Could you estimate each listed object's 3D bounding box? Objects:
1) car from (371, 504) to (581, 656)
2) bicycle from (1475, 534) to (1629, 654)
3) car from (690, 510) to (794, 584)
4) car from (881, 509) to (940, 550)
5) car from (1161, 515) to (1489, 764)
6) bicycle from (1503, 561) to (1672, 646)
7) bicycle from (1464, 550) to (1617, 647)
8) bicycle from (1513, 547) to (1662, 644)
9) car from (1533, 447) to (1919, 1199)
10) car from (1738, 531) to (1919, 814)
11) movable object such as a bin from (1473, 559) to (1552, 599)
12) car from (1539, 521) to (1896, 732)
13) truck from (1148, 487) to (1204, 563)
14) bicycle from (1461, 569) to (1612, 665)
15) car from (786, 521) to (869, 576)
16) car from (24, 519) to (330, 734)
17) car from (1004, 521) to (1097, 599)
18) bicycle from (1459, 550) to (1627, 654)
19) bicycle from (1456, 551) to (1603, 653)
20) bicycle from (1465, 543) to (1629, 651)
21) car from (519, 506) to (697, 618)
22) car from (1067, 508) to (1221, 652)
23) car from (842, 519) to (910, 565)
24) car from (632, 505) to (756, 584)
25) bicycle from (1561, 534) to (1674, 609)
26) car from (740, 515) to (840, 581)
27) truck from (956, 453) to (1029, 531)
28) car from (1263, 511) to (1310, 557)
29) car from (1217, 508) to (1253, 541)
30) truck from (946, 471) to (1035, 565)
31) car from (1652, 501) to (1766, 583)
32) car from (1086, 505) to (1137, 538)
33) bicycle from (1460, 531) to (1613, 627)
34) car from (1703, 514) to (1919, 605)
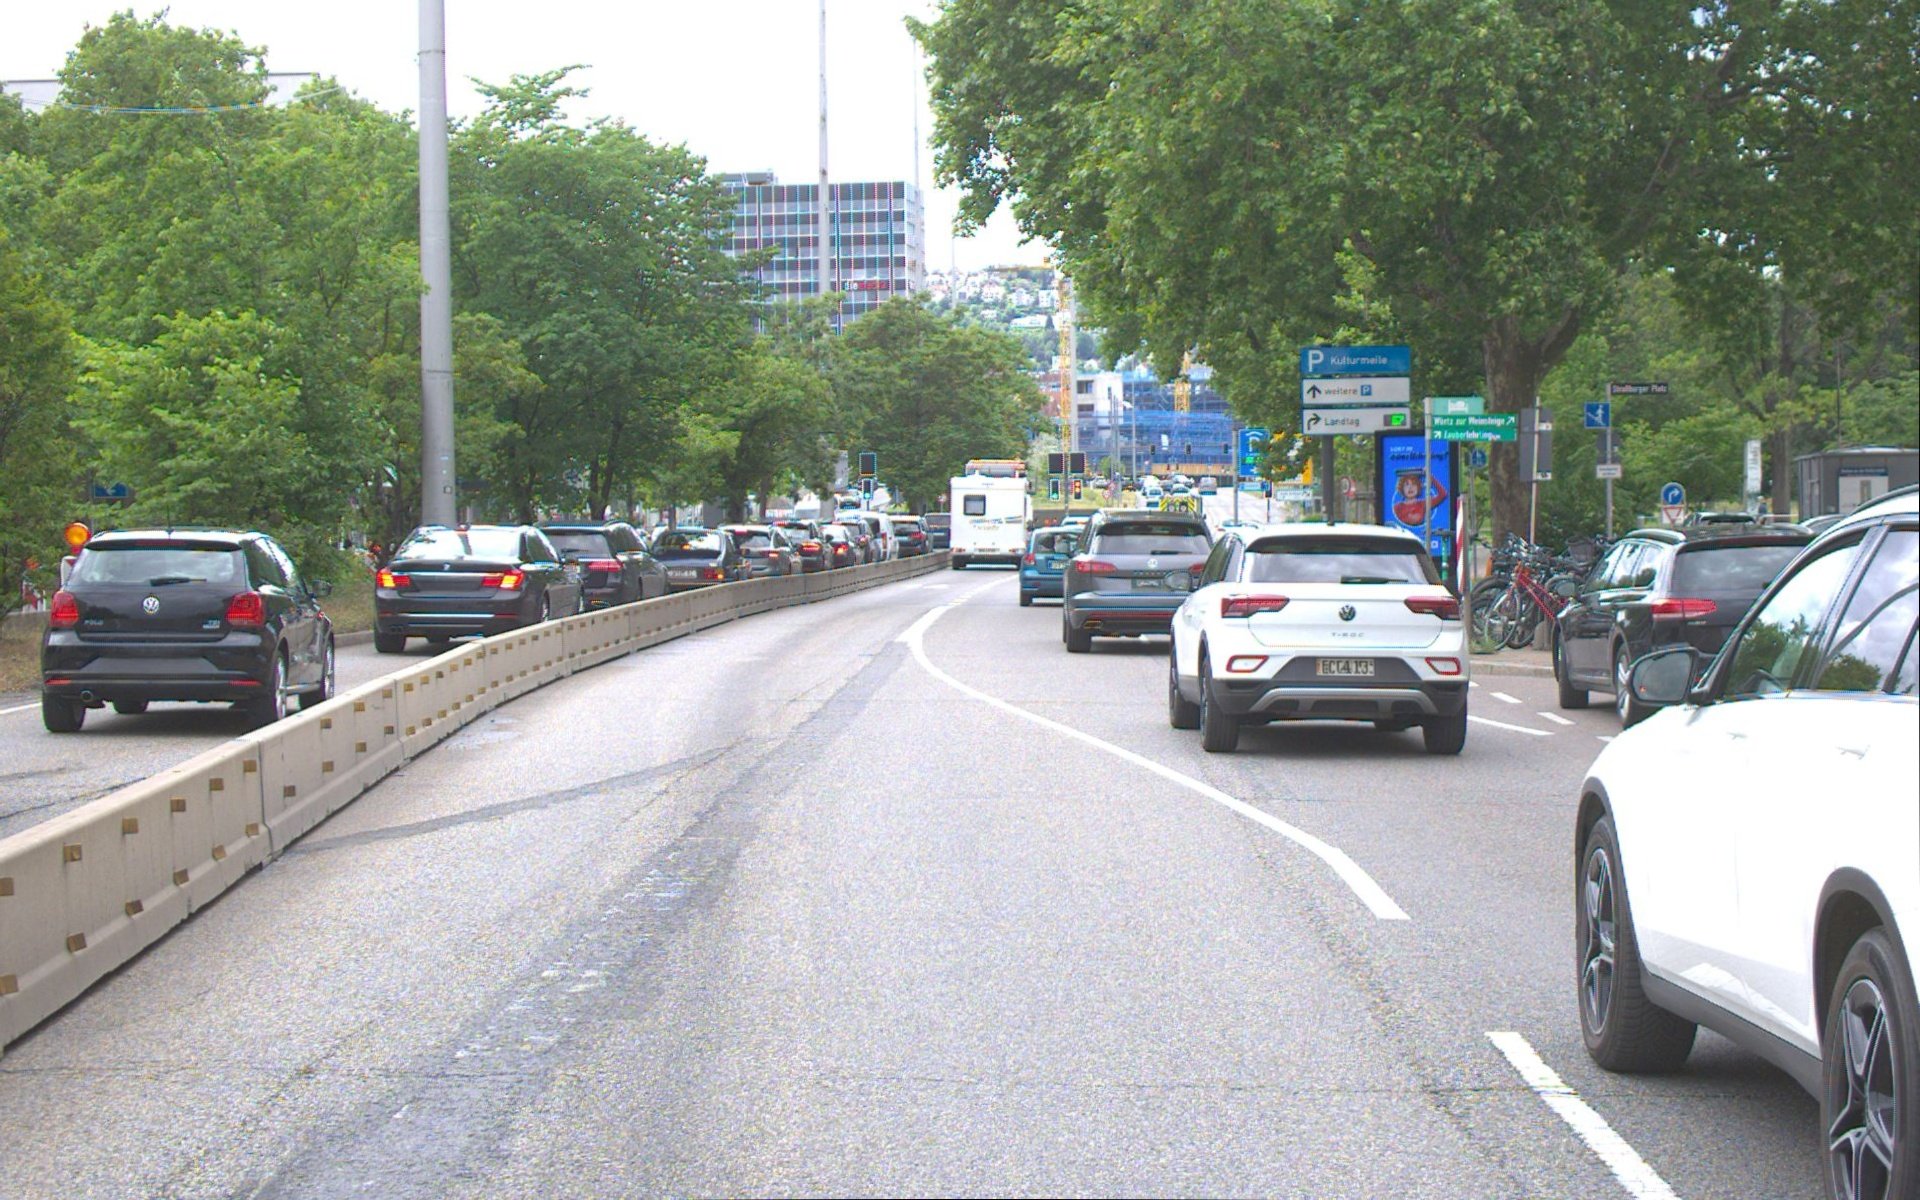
[{"bbox_3d":[-5.527,-0.262,39.775,1.923,1.630,4.937,0,1,-2],"label":"car"},{"bbox_3d":[6.385,-0.070,37.082,1.544,1.252,0.542,1,1,21],"label":"bicycle"},{"bbox_3d":[-4.368,-1.069,69.259,1.661,1.431,3.960,1,1,3],"label":"car"},{"bbox_3d":[-1.644,-2.340,114.495,1.659,1.315,3.547,1,1,4],"label":"car"},{"bbox_3d":[2.485,0.224,24.247,1.795,1.603,3.755,0,1,-2],"label":"car"},{"bbox_3d":[6.843,0.033,37.474,1.730,0.914,0.613,0,1,21],"label":"bicycle"},{"bbox_3d":[6.765,-0.023,40.052,1.729,1.087,0.574,1,1,11],"label":"bicycle"},{"bbox_3d":[6.869,-0.054,37.633,1.564,1.024,0.435,1,1,14],"label":"bicycle"},{"bbox_3d":[2.619,0.523,8.006,1.788,1.619,4.437,2,1,0],"label":"car"},{"bbox_3d":[5.704,0.325,19.538,1.708,1.421,3.997,-1,1,1],"label":"car"},{"bbox_3d":[9.553,-0.362,59.422,1.299,0.650,0.728,2,0,12],"label":"movable object such as a bin"},{"bbox_3d":[5.736,0.151,26.537,1.788,1.481,4.326,0,1,0],"label":"car"},{"bbox_3d":[11.950,-4.160,190.462,2.877,4.089,6.638,1,1,3],"label":"truck"},{"bbox_3d":[6.871,0.194,40.976,1.729,1.087,0.425,1,1,16],"label":"bicycle"},{"bbox_3d":[-3.251,-1.276,84.868,1.659,1.315,3.547,1,1,4],"label":"car"},{"bbox_3d":[-5.712,0.144,25.495,1.659,1.449,4.199,0,1,-5],"label":"car"},{"bbox_3d":[1.725,-0.750,64.571,1.659,1.408,3.547,1,1,3],"label":"car"},{"bbox_3d":[6.207,0.011,36.604,1.664,1.070,0.584,1,1,22],"label":"bicycle"},{"bbox_3d":[6.383,0.024,38.510,1.609,1.126,0.470,0,1,-23],"label":"bicycle"},{"bbox_3d":[6.751,-0.043,39.599,1.757,1.205,0.604,1,1,0],"label":"bicycle"},{"bbox_3d":[-4.922,-0.564,48.707,1.816,1.494,4.769,0,1,3],"label":"car"},{"bbox_3d":[2.161,-0.265,41.115,1.659,1.633,3.547,0,1,0],"label":"car"},{"bbox_3d":[-2.437,-1.688,100.424,1.659,1.315,3.547,1,1,4],"label":"car"},{"bbox_3d":[-4.781,-1.025,62.322,1.678,1.362,4.543,0,1,3],"label":"car"},{"bbox_3d":[10.808,-0.468,56.549,1.785,1.216,0.492,0,1,6],"label":"bicycle"},{"bbox_3d":[-3.781,-1.175,77.031,1.776,1.415,4.000,0,2,4],"label":"car"},{"bbox_3d":[1.331,-4.313,138.521,2.692,2.981,5.638,2,1,2],"label":"truck"},{"bbox_3d":[14.508,-2.946,152.944,1.994,2.007,4.000,1,1,4],"label":"car"},{"bbox_3d":[14.396,-3.961,179.921,1.758,1.663,4.168,0,1,3],"label":"car"},{"bbox_3d":[1.015,-2.618,109.465,2.621,2.851,7.078,1,1,2],"label":"truck"},{"bbox_3d":[15.693,-1.247,72.196,1.760,1.546,4.027,0,3,4],"label":"car"},{"bbox_3d":[6.180,-3.195,139.917,1.947,1.315,4.016,1,1,4],"label":"car"},{"bbox_3d":[6.782,-0.254,40.439,1.729,1.087,0.380,1,1,16],"label":"bicycle"},{"bbox_3d":[14.963,-0.713,59.634,3.836,1.563,1.679,0,1,3],"label":"car"}]
